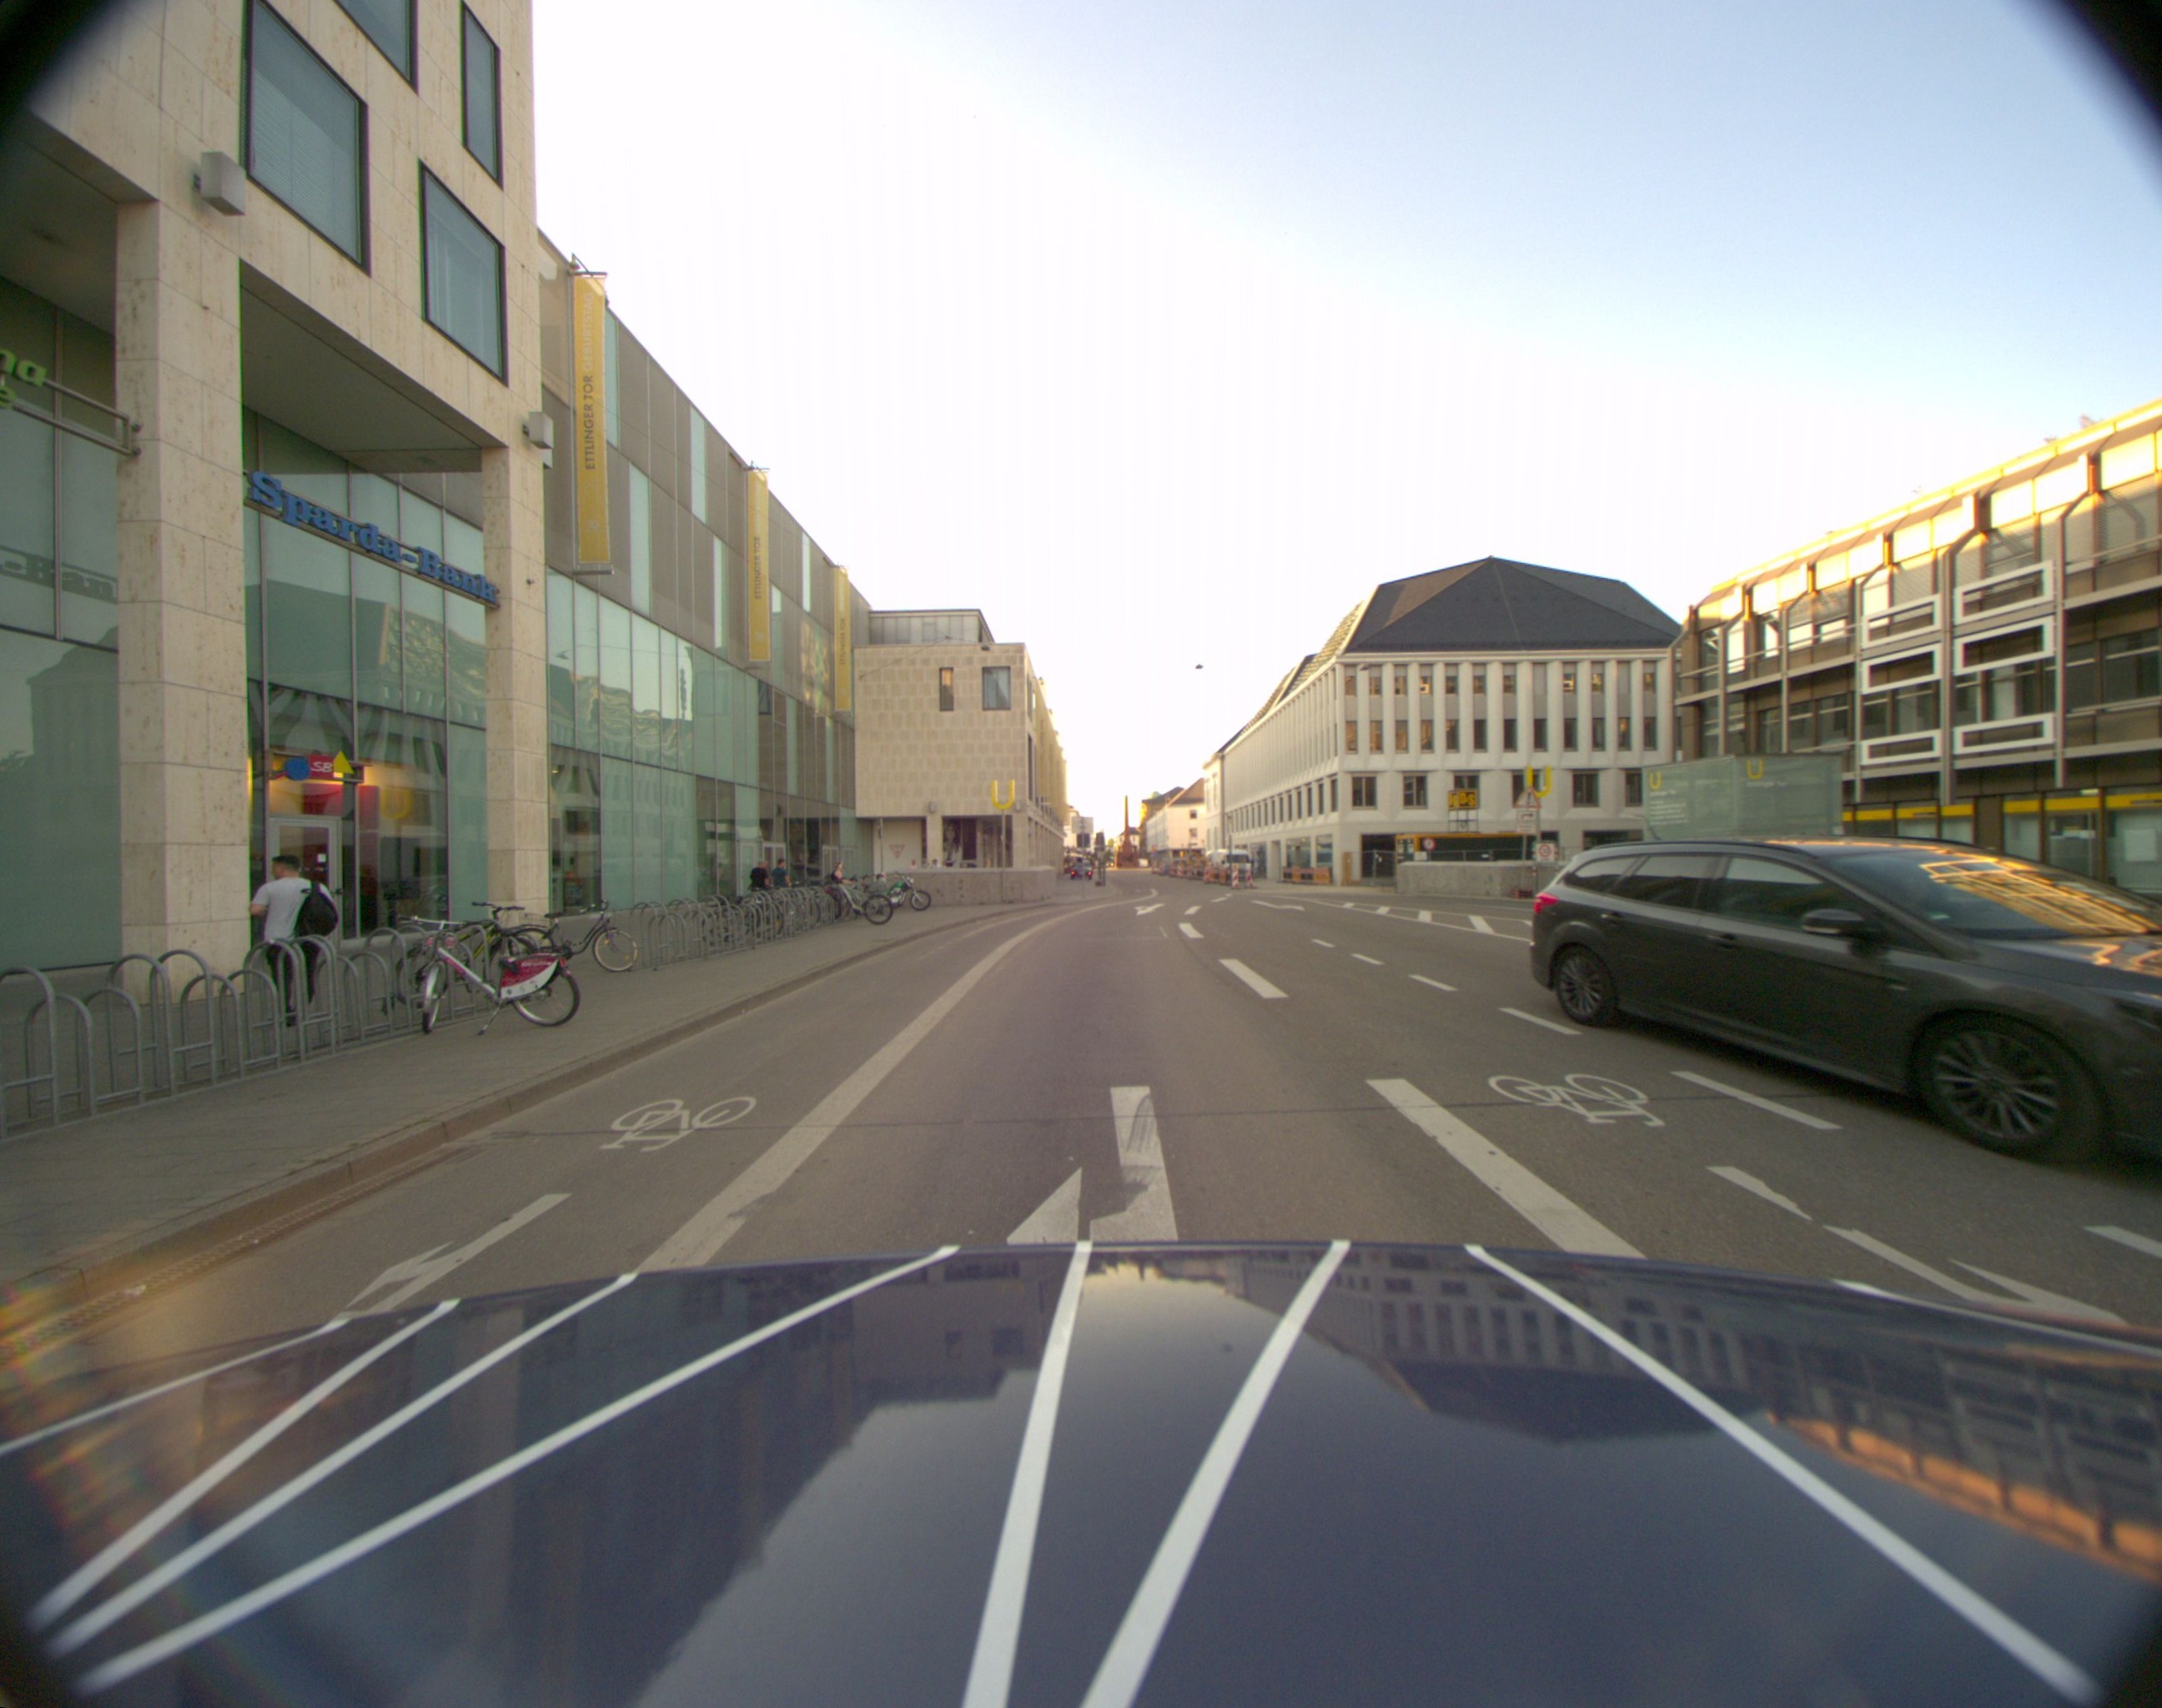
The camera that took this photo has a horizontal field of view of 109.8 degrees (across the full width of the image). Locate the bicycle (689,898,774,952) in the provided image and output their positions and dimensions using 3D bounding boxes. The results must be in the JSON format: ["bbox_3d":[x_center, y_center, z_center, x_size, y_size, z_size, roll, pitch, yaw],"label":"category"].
[{"bbox_3d":[-6.655,1.345,14.501,1.345,0.927,0.518,-3,0,-1],"label":"bicycle"}]

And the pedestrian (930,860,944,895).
[{"bbox_3d":[-7.131,1.166,37.606,0.494,1.733,0.657,-1,0,3],"label":"pedestrian"}]

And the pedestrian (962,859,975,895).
[{"bbox_3d":[-5.595,1.138,37.840,0.504,1.733,0.493,-1,0,3],"label":"pedestrian"}]

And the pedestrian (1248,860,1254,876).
[{"bbox_3d":[13.740,1.144,61.403,0.350,1.308,0.338,-1,0,1],"label":"pedestrian"}]

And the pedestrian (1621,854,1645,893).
[{"bbox_3d":[21.046,0.742,28.978,0.532,1.487,0.555,-1,0,1],"label":"pedestrian"}]

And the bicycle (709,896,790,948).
[{"bbox_3d":[-6.597,1.354,15.147,1.345,0.927,0.518,-3,0,-1],"label":"bicycle"}]

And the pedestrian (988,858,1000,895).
[{"bbox_3d":[-4.181,1.074,36.510,0.454,1.733,0.493,-1,0,3],"label":"pedestrian"}]

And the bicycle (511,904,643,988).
[{"bbox_3d":[-7.303,1.316,11.070,1.447,1.058,0.580,-3,0,-10],"label":"bicycle"}]

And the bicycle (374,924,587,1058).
[{"bbox_3d":[-5.399,1.220,6.864,1.518,1.057,0.466,-3,0,1],"label":"bicycle"}]

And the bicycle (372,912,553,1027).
[{"bbox_3d":[-6.798,1.260,8.390,1.518,1.117,0.581,-3,0,4],"label":"bicycle"}]

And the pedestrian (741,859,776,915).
[{"bbox_3d":[-9.682,0.979,22.822,0.741,1.638,0.820,-1,0,-7],"label":"pedestrian"}]

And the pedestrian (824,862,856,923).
[{"bbox_3d":[-6.689,1.049,21.113,0.809,1.633,0.646,-1,0,-18],"label":"pedestrian"}]

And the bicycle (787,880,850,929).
[{"bbox_3d":[-6.604,1.266,19.161,1.345,1.157,0.518,-3,0,-1],"label":"bicycle"}]

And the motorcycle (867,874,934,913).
[{"bbox_3d":[-5.711,1.243,24.082,2.007,1.217,0.480,-1,0,-2],"label":"motorcycle"}]

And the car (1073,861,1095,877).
[{"bbox_3d":[0.334,1.299,67.833,1.798,1.365,3.671,-1,0,2],"label":"car"}]

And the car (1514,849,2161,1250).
[{"bbox_3d":[4.837,0.739,4.585,1.762,1.454,4.379,-2,0,-3],"label":"car"}]

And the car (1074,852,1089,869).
[{"bbox_3d":[0.124,0.841,100.110,1.798,2.198,3.671,-1,0,2],"label":"car"}]

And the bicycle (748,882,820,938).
[{"bbox_3d":[-6.660,1.239,17.075,1.345,1.157,0.518,-3,0,-1],"label":"bicycle"}]

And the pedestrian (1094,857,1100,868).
[{"bbox_3d":[2.314,1.233,109.591,0.692,1.628,0.597,-1,0,17],"label":"pedestrian"}]

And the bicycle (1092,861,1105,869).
[{"bbox_3d":[2.548,1.562,109.515,1.770,1.036,0.599,-1,0,17],"label":"bicycle"}]

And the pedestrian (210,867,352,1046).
[{"bbox_3d":[-7.871,0.974,7.499,0.707,1.682,0.629,-1,0,1],"label":"pedestrian"}]

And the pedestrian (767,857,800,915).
[{"bbox_3d":[-8.851,0.935,22.625,0.698,1.686,0.820,-1,0,-7],"label":"pedestrian"}]

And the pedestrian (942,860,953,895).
[{"bbox_3d":[-6.771,1.192,38.550,0.454,1.733,0.493,-1,0,3],"label":"pedestrian"}]

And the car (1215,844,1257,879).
[{"bbox_3d":[11.985,0.593,59.161,2.141,2.540,6.050,-1,0,1],"label":"car"}]

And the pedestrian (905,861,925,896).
[{"bbox_3d":[-8.192,1.199,37.584,0.793,1.733,0.657,-1,0,3],"label":"pedestrian"}]

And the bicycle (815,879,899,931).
[{"bbox_3d":[-5.389,1.220,18.317,1.838,1.140,0.466,-3,0,1],"label":"bicycle"}]

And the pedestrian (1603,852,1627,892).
[{"bbox_3d":[20.302,0.689,28.886,0.532,1.487,0.555,-1,0,1],"label":"pedestrian"}]
